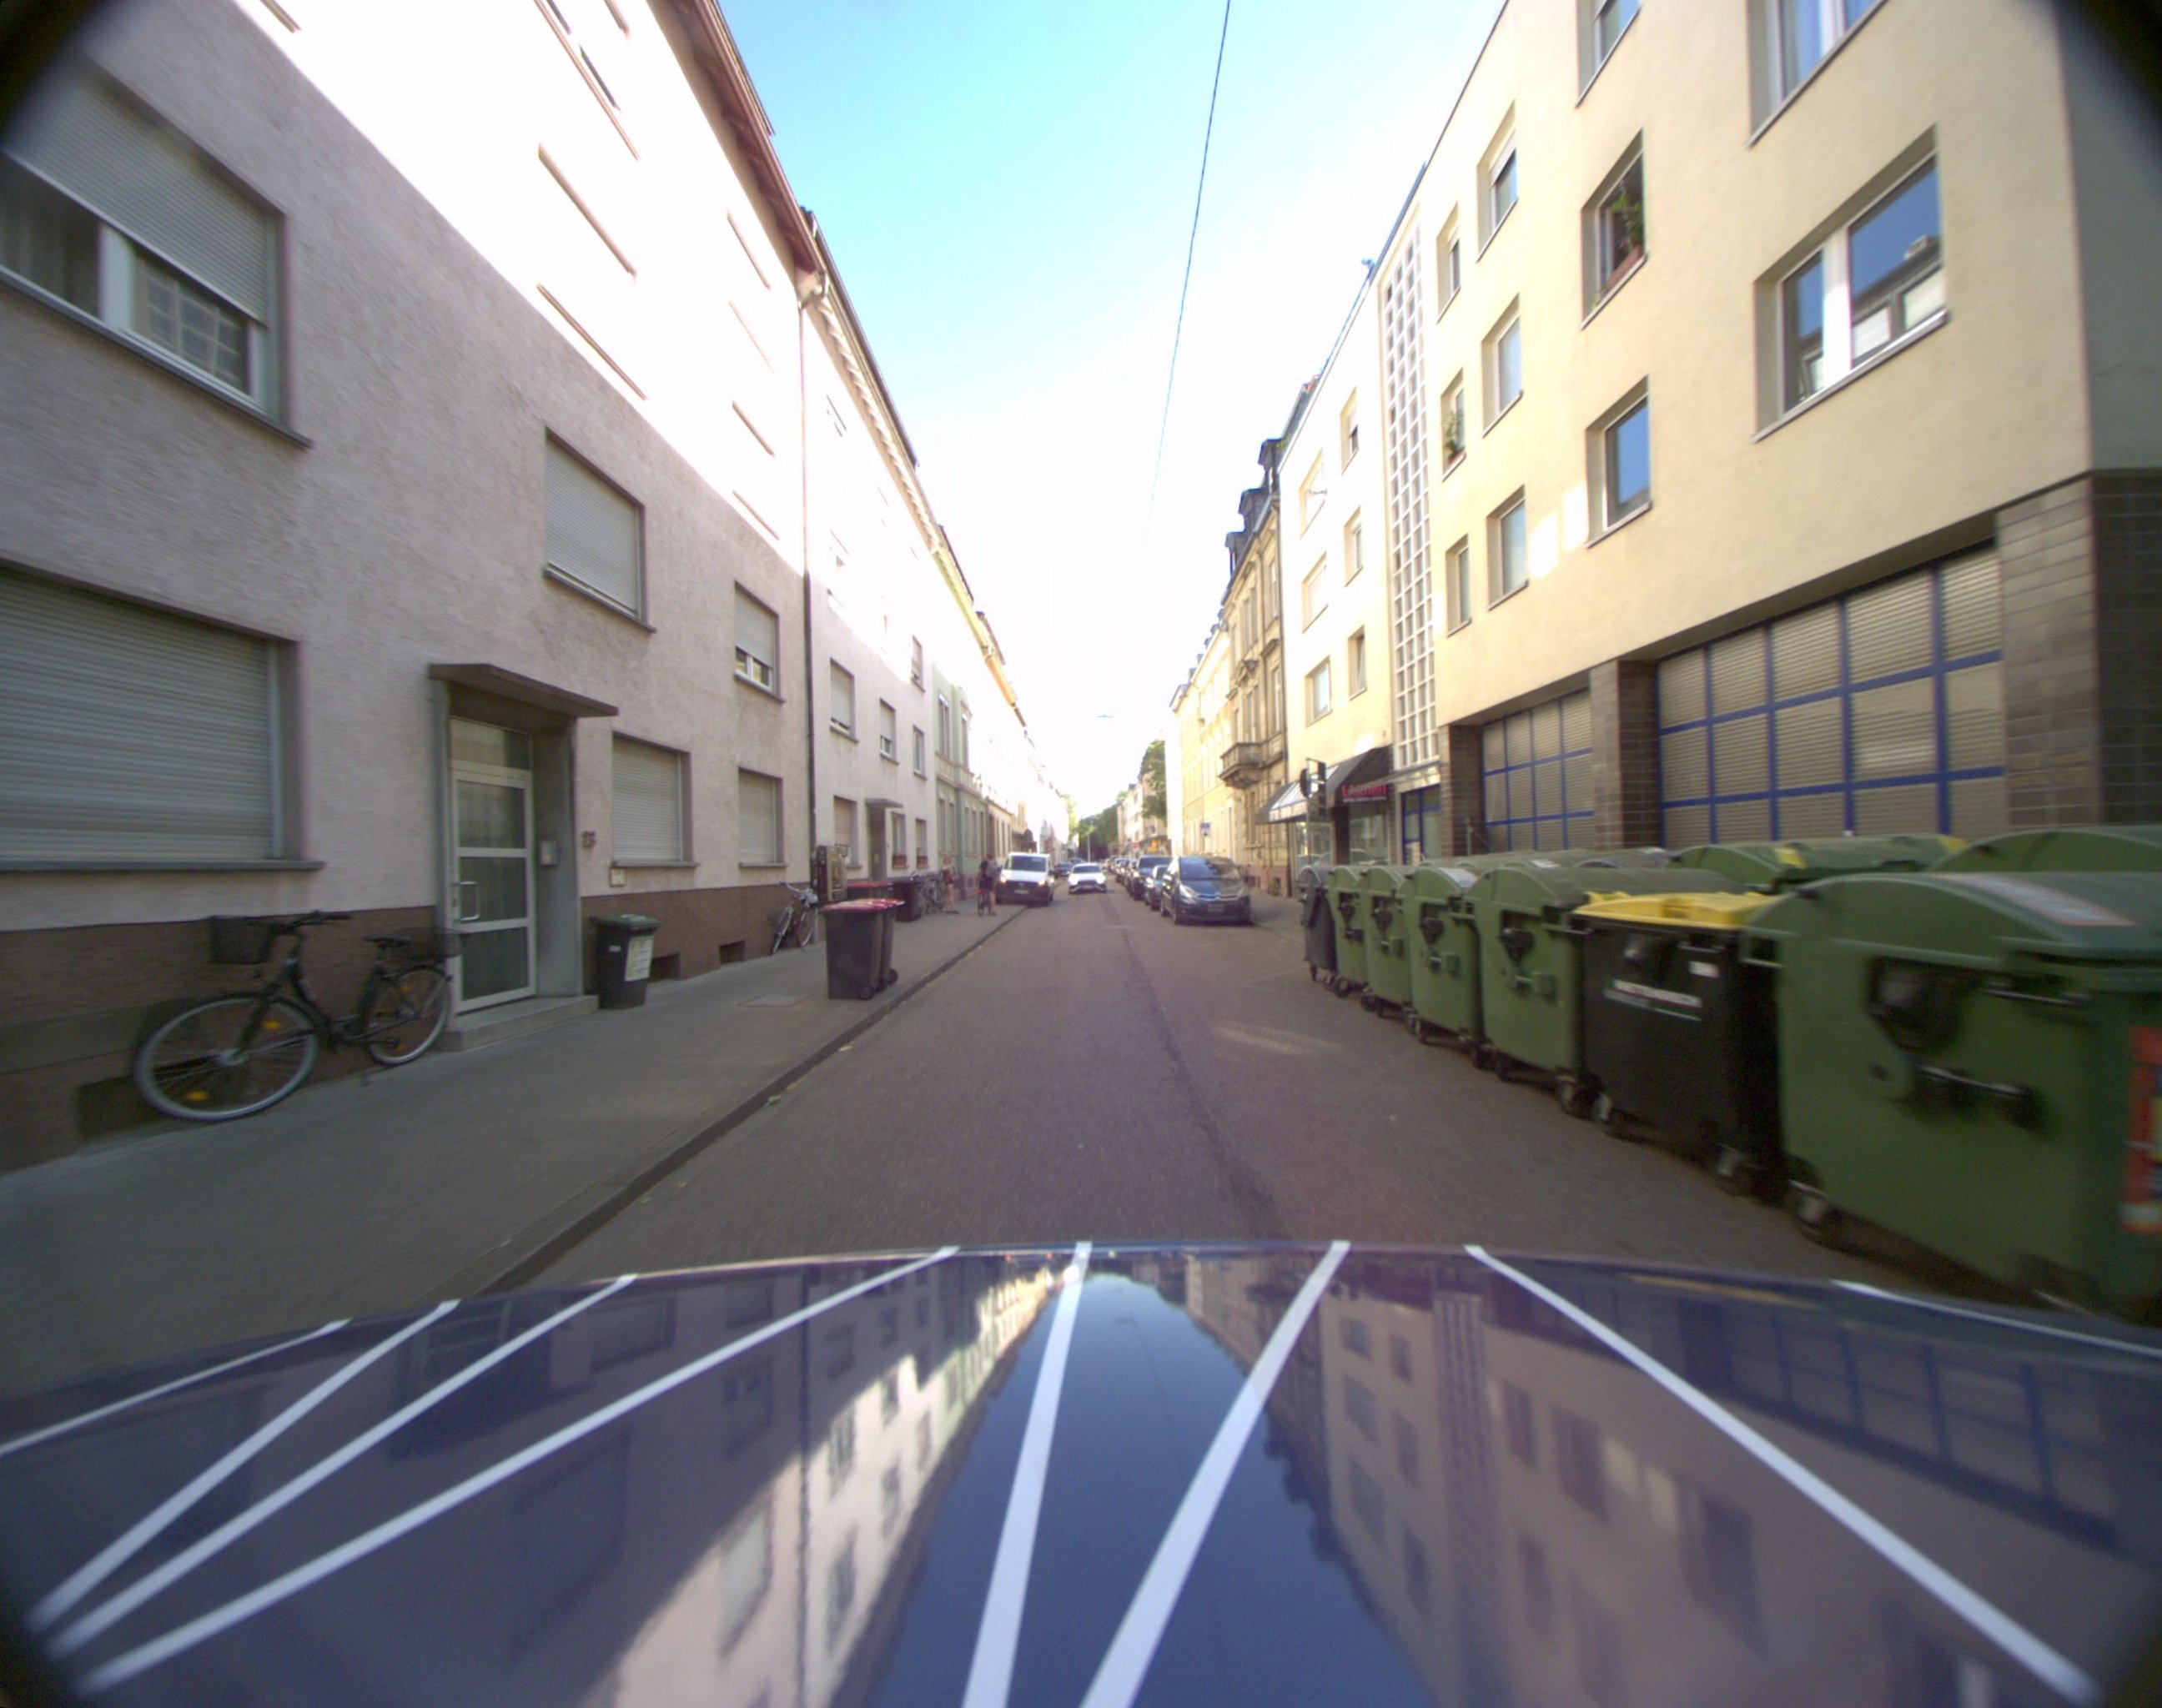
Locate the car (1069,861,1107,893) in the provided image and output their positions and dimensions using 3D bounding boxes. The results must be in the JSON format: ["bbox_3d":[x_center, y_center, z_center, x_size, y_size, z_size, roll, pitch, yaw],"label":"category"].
[{"bbox_3d":[0.379,1.111,37.642,1.761,1.399,4.022,-1,0,1],"label":"car"}]

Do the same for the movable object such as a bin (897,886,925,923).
[{"bbox_3d":[-4.423,1.298,19.766,0.578,0.919,0.607,1,0,1],"label":"movable object such as a bin"}]

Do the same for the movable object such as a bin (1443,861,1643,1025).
[{"bbox_3d":[4.638,0.849,7.746,1.309,1.490,1.157,-2,1,1],"label":"movable object such as a bin"}]

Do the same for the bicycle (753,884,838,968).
[{"bbox_3d":[-4.604,1.116,12.418,0.538,1.163,2.076,3,0,1],"label":"bicycle"}]

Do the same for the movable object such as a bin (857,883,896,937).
[{"bbox_3d":[-4.395,1.194,16.367,0.629,1.116,0.569,-1,1,2],"label":"movable object such as a bin"}]

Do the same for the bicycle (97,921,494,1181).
[{"bbox_3d":[-4.716,1.082,4.800,0.454,1.127,1.920,1,0,3],"label":"bicycle"}]

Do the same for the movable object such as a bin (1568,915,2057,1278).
[{"bbox_3d":[3.224,1.004,3.522,1.244,1.314,1.046,-2,1,1],"label":"movable object such as a bin"}]

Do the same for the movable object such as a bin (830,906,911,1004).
[{"bbox_3d":[-2.530,1.197,9.186,0.734,1.074,0.703,-1,1,2],"label":"movable object such as a bin"}]

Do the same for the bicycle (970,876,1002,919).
[{"bbox_3d":[-2.694,1.215,21.722,0.665,1.130,1.988,1,-1,-1],"label":"bicycle"}]

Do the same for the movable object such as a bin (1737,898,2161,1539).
[{"bbox_3d":[3.233,0.920,2.421,1.304,1.442,1.117,-2,1,-3],"label":"movable object such as a bin"}]

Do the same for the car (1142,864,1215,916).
[{"bbox_3d":[3.030,1.090,24.564,1.850,1.409,4.817,0,0,1],"label":"car"}]

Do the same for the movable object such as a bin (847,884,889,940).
[{"bbox_3d":[-4.418,1.197,15.806,0.658,1.098,0.593,-1,0,2],"label":"movable object such as a bin"}]

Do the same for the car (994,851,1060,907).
[{"bbox_3d":[-1.951,0.886,29.209,1.988,1.872,5.600,2,0,1],"label":"car"}]

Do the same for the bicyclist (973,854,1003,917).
[{"bbox_3d":[-2.660,0.900,21.805,0.762,1.760,0.822,1,-1,-1],"label":"bicyclist"}]

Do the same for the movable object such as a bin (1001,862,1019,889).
[{"bbox_3d":[-3.871,1.156,41.547,0.839,1.382,1.296,1,2,0],"label":"movable object such as a bin"}]

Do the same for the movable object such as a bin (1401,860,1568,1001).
[{"bbox_3d":[4.665,0.842,8.904,1.299,1.489,1.178,-2,1,1],"label":"movable object such as a bin"}]

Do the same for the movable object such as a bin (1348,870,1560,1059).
[{"bbox_3d":[3.228,0.920,6.717,1.352,1.478,1.003,-2,1,1],"label":"movable object such as a bin"}]

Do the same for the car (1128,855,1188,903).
[{"bbox_3d":[2.979,0.930,30.363,1.941,1.726,5.142,-1,0,1],"label":"car"}]

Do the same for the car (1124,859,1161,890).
[{"bbox_3d":[3.225,1.071,40.648,1.619,1.544,3.978,-1,0,0],"label":"car"}]

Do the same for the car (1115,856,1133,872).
[{"bbox_3d":[4.924,1.143,87.912,1.771,1.887,4.809,0,0,0],"label":"car"}]

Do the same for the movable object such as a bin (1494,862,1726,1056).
[{"bbox_3d":[4.570,0.859,6.670,1.305,1.514,1.018,-2,1,1],"label":"movable object such as a bin"}]

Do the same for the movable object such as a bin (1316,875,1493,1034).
[{"bbox_3d":[3.239,0.971,7.762,1.337,1.476,1.093,0,1,1],"label":"movable object such as a bin"}]

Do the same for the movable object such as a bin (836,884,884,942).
[{"bbox_3d":[-4.414,1.172,15.210,0.740,1.091,0.640,1,1,2],"label":"movable object such as a bin"}]

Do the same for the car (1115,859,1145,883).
[{"bbox_3d":[3.342,1.147,52.304,1.718,1.479,4.852,1,0,0],"label":"car"}]

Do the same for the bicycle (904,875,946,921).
[{"bbox_3d":[-4.302,1.187,21.031,0.570,1.147,1.869,-1,1,6],"label":"bicycle"}]

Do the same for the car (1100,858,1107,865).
[{"bbox_3d":[5.668,1.772,192.528,1.786,1.674,4.022,-1,1,1],"label":"car"}]

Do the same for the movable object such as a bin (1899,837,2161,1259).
[{"bbox_3d":[4.827,0.757,3.328,1.231,1.643,1.173,-2,1,-5],"label":"movable object such as a bin"}]

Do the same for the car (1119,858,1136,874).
[{"bbox_3d":[5.022,1.264,81.691,1.671,1.551,3.722,-1,0,2],"label":"car"}]

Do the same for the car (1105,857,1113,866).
[{"bbox_3d":[5.933,1.611,162.872,1.585,1.971,4.068,-1,1,1],"label":"car"}]

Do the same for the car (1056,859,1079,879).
[{"bbox_3d":[-1.129,1.306,67.525,1.805,1.569,4.897,-2,0,1],"label":"car"}]

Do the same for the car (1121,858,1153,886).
[{"bbox_3d":[3.376,1.059,46.442,1.748,1.605,4.604,0,-1,2],"label":"car"}]

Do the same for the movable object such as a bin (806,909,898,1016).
[{"bbox_3d":[-2.534,1.185,8.472,0.770,1.080,0.693,-1,1,2],"label":"movable object such as a bin"}]

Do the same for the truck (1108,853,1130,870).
[{"bbox_3d":[5.221,1.004,105.279,2.171,2.295,6.345,0,0,-5],"label":"truck"}]

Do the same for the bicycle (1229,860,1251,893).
[{"bbox_3d":[6.325,0.879,30.284,0.511,1.269,1.867,-1,1,2],"label":"bicycle"}]

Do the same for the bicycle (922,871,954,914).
[{"bbox_3d":[-4.393,1.162,23.458,0.406,1.199,2.160,-1,1,4],"label":"bicycle"}]

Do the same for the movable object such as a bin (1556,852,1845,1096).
[{"bbox_3d":[4.525,0.816,5.668,1.297,1.611,1.018,-2,1,1],"label":"movable object such as a bin"}]

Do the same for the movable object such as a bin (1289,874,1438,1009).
[{"bbox_3d":[3.263,0.981,8.936,1.322,1.442,1.187,0,1,1],"label":"movable object such as a bin"}]

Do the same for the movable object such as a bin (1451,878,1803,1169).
[{"bbox_3d":[3.192,0.930,4.613,1.337,1.482,1.082,-2,1,1],"label":"movable object such as a bin"}]

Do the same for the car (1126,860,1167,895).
[{"bbox_3d":[3.038,1.043,35.883,1.717,1.522,4.367,0,0,3],"label":"car"}]

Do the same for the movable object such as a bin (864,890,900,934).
[{"bbox_3d":[-4.447,1.280,17.003,0.607,0.929,0.605,-1,0,2],"label":"movable object such as a bin"}]

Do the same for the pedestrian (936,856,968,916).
[{"bbox_3d":[-3.736,0.931,22.053,0.656,1.701,0.687,-1,1,13],"label":"pedestrian"}]

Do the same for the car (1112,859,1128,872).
[{"bbox_3d":[4.779,1.409,93.917,1.669,1.514,4.489,0,-1,0],"label":"car"}]

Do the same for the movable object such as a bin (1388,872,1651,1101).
[{"bbox_3d":[3.192,0.920,5.681,1.346,1.490,1.018,-2,1,1],"label":"movable object such as a bin"}]

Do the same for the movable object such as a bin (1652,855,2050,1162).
[{"bbox_3d":[4.525,0.831,4.603,1.292,1.595,1.082,-2,1,1],"label":"movable object such as a bin"}]

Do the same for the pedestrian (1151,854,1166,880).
[{"bbox_3d":[5.430,0.905,53.497,0.913,1.822,1.245,-1,1,1],"label":"pedestrian"}]

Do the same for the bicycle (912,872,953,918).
[{"bbox_3d":[-4.295,1.170,22.120,0.438,1.199,2.267,-1,1,8],"label":"bicycle"}]

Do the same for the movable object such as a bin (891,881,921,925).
[{"bbox_3d":[-4.411,1.228,19.156,0.617,1.056,0.603,0,0,1],"label":"movable object such as a bin"}]

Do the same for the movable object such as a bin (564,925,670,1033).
[{"bbox_3d":[-4.579,1.216,7.539,0.599,0.946,0.682,-1,1,2],"label":"movable object such as a bin"}]

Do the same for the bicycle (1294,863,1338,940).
[{"bbox_3d":[4.685,0.904,15.221,0.466,1.324,1.855,-5,1,9],"label":"bicycle"}]

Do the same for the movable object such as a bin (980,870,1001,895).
[{"bbox_3d":[-4.086,1.265,34.285,0.814,1.082,0.674,-1,1,3],"label":"movable object such as a bin"}]

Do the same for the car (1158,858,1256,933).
[{"bbox_3d":[3.019,0.926,19.180,1.787,1.657,4.670,0,0,1],"label":"car"}]
